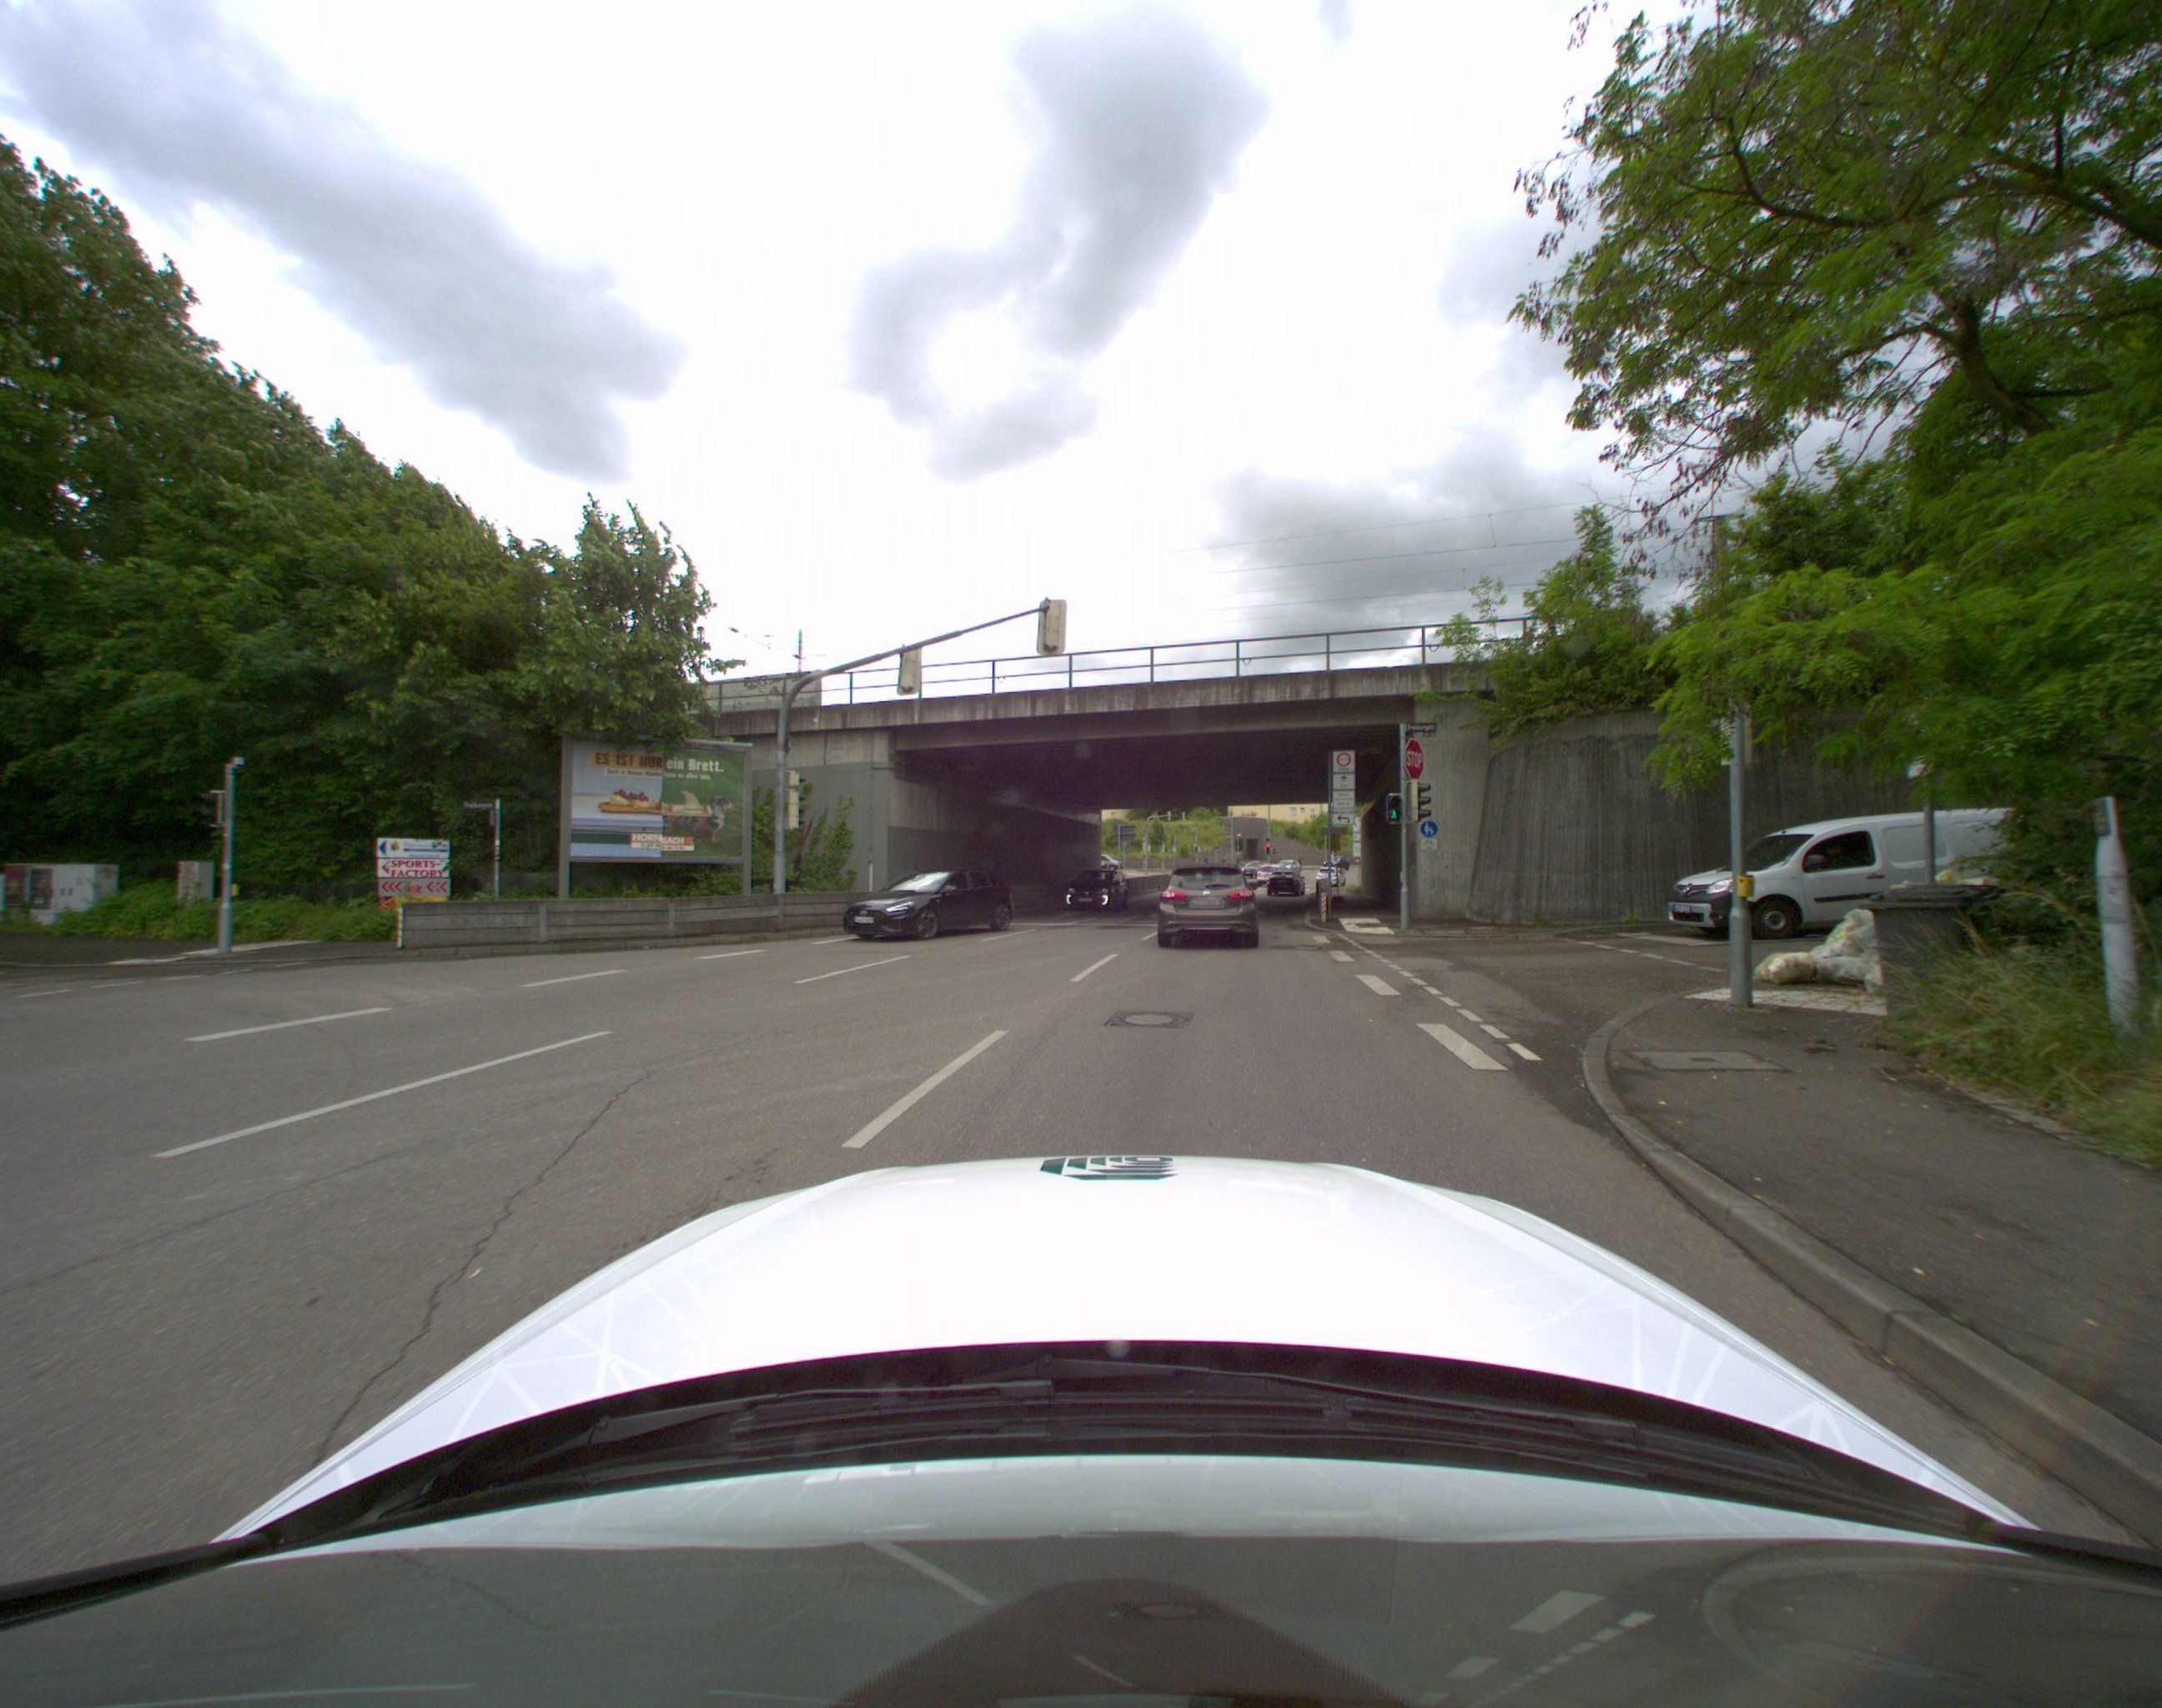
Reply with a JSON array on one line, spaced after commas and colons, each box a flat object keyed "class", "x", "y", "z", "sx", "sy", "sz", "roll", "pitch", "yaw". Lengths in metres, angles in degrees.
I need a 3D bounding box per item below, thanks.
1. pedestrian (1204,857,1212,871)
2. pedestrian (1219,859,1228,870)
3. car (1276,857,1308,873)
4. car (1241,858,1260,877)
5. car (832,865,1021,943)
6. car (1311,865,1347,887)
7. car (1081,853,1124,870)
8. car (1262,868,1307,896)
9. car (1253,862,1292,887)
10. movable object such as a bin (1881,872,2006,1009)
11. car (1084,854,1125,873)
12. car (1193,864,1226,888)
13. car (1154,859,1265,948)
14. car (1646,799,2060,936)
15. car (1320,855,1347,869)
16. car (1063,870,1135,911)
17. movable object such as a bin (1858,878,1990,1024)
[{"class": "pedestrian", "x": 15.062, "y": 1.185, "z": 96.539, "sx": 0.947, "sy": 1.613, "sz": 0.701, "roll": 0, "pitch": -1, "yaw": 7}, {"class": "pedestrian", "x": 15.933, "y": 1.156, "z": 90.996, "sx": 0.905, "sy": 1.224, "sz": 0.731, "roll": 3, "pitch": 0, "yaw": 8}, {"class": "car", "x": 22.076, "y": 1.128, "z": 85.247, "sx": 1.974, "sy": 1.640, "sz": 4.025, "roll": -1, "pitch": -1, "yaw": 35}, {"class": "car", "x": 15.830, "y": 1.219, "z": 75.874, "sx": 1.675, "sy": 1.708, "sz": 3.802, "roll": 0, "pitch": 0, "yaw": 12}, {"class": "car", "x": -3.207, "y": 0.995, "z": 17.778, "sx": 1.799, "sy": 1.477, "sz": 4.161, "roll": 0, "pitch": -1, "yaw": 28}, {"class": "car", "x": 18.846, "y": 1.617, "z": 61.804, "sx": 1.975, "sy": 1.618, "sz": 4.023, "roll": -1, "pitch": -1, "yaw": 26}, {"class": "car", "x": 2.214, "y": 0.771, "z": 82.938, "sx": 3.953, "sy": 1.596, "sz": 1.881, "roll": 1, "pitch": -1, "yaw": 21}, {"class": "car", "x": 11.587, "y": 1.555, "z": 46.156, "sx": 1.883, "sy": 1.466, "sz": 4.022, "roll": 0, "pitch": 0, "yaw": 22}, {"class": "car", "x": 13.983, "y": 1.458, "z": 59.364, "sx": 1.813, "sy": 1.706, "sz": 3.892, "roll": 1, "pitch": 0, "yaw": 28}, {"class": "movable object such as a bin", "x": 7.524, "y": 0.721, "z": 7.113, "sx": 0.577, "sy": 1.115, "sz": 0.638, "roll": 1, "pitch": -1, "yaw": -32}, {"class": "car", "x": 2.536, "y": 1.046, "z": 87.394, "sx": 3.958, "sy": 1.948, "sz": 2.007, "roll": 0, "pitch": -1, "yaw": 14}, {"class": "car", "x": 9.189, "y": 1.560, "z": 57.958, "sx": 1.769, "sy": 1.660, "sz": 4.126, "roll": 0, "pitch": -1, "yaw": 17}, {"class": "car", "x": 2.408, "y": 0.871, "z": 15.707, "sx": 1.835, "sy": 1.493, "sz": 4.008, "roll": 0, "pitch": -1, "yaw": 7}, {"class": "car", "x": 12.067, "y": 0.267, "z": 13.094, "sx": 4.452, "sy": 1.785, "sz": 1.832, "roll": -4, "pitch": -3, "yaw": 10}, {"class": "car", "x": 29.632, "y": 0.940, "z": 95.500, "sx": 1.974, "sy": 1.698, "sz": 4.193, "roll": -1, "pitch": -1, "yaw": 31}, {"class": "car", "x": 0.732, "y": 1.317, "z": 30.201, "sx": 1.710, "sy": 1.410, "sz": 4.016, "roll": -1, "pitch": -2, "yaw": 15}, {"class": "movable object such as a bin", "x": 6.945, "y": 0.761, "z": 6.720, "sx": 0.577, "sy": 1.115, "sz": 0.638, "roll": 1, "pitch": -1, "yaw": -32}]
